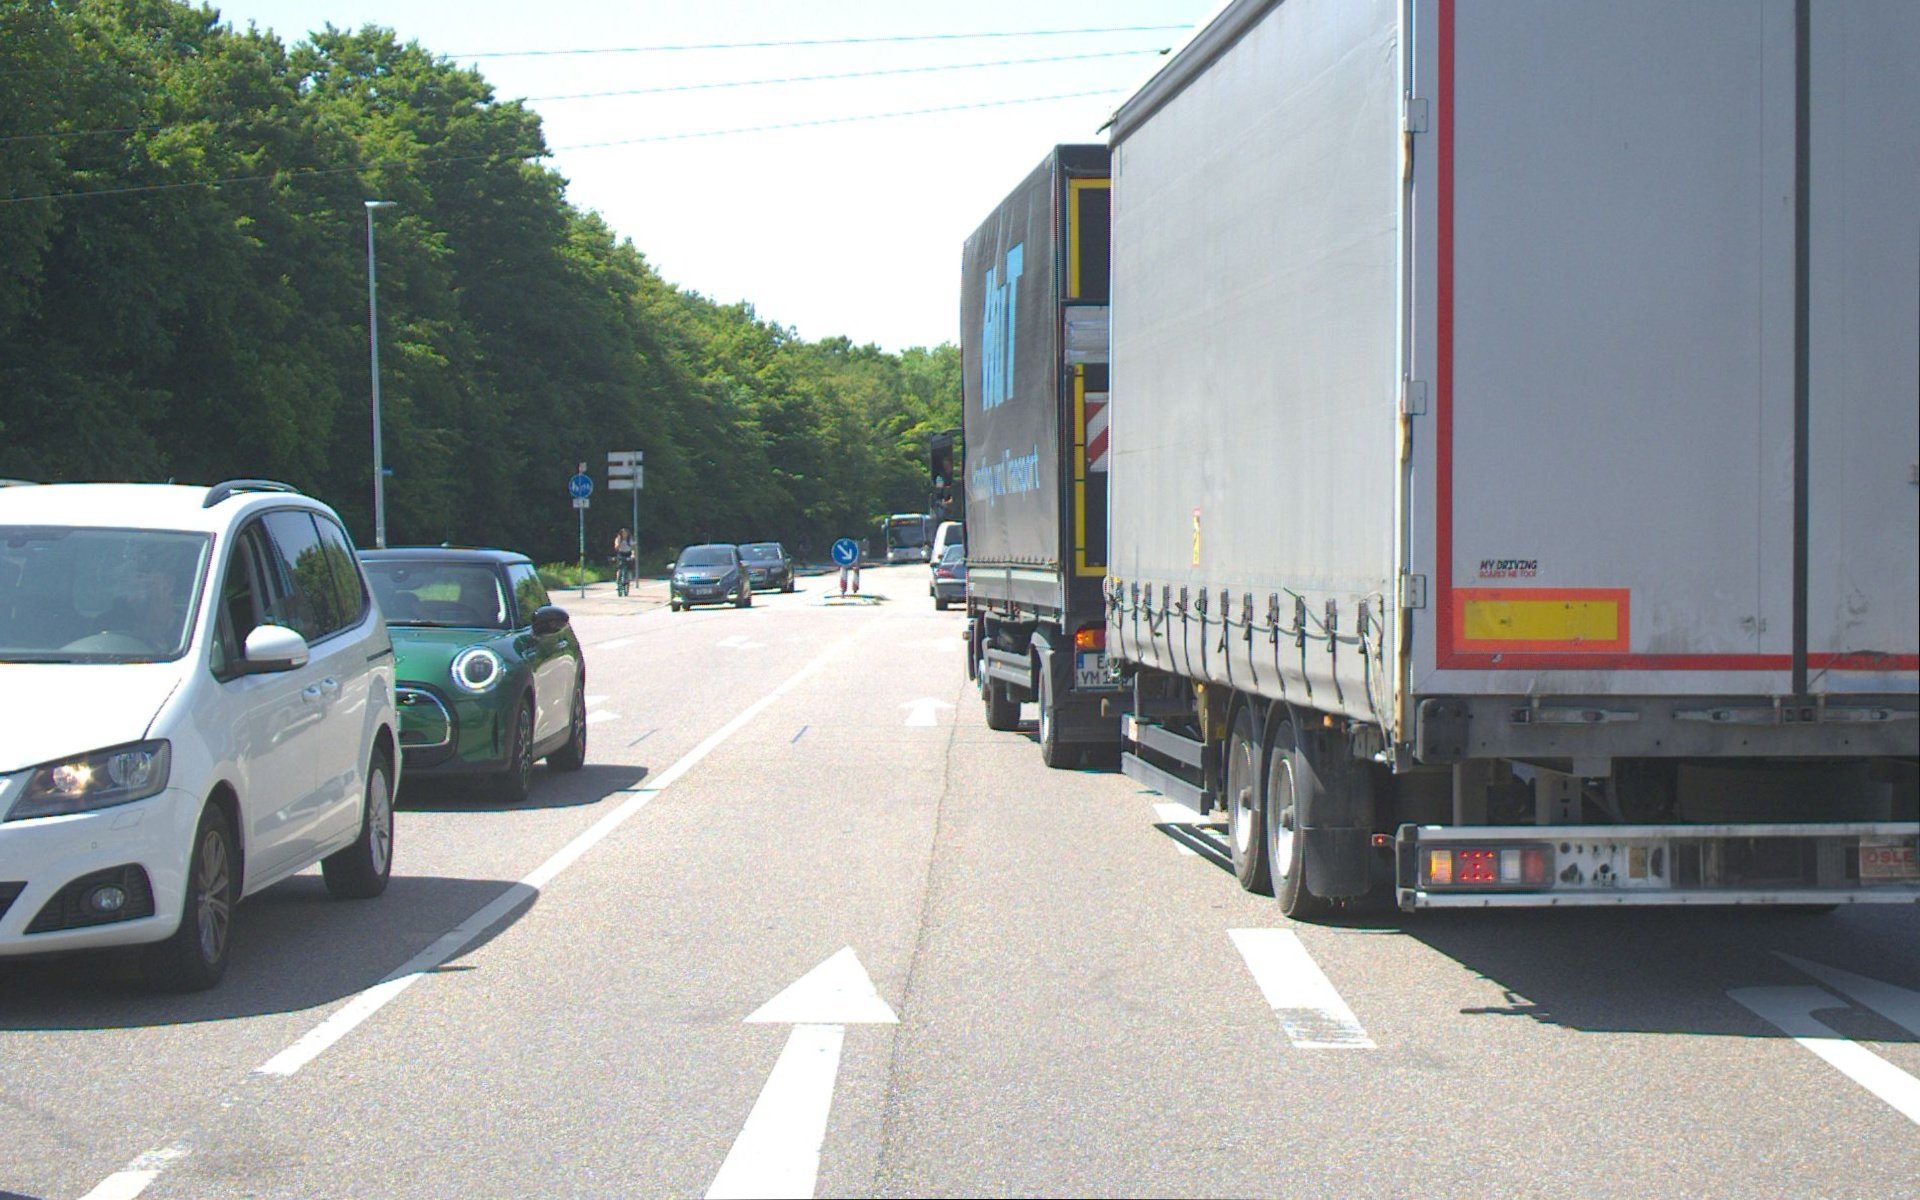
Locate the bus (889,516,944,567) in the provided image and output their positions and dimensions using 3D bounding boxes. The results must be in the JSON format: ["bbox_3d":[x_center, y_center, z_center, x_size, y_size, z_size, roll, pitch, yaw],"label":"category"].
[{"bbox_3d":[-2.746,-3.807,220.550,2.750,3.035,11.938,-2,1,3],"label":"bus"}]

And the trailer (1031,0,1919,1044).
[{"bbox_3d":[2.321,-0.804,15.308,3.077,4.056,9.811,0,1,-4],"label":"trailer"}]

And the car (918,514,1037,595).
[{"bbox_3d":[0.402,-0.979,72.260,2.026,1.626,3.999,-1,1,7],"label":"car"}]

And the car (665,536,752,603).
[{"bbox_3d":[-5.691,-0.710,78.179,1.622,1.451,3.501,-2,1,1],"label":"car"}]

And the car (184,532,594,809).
[{"bbox_3d":[-3.270,0.338,20.413,1.723,1.457,3.990,0,1,1],"label":"car"}]

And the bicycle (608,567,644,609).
[{"bbox_3d":[-8.827,-0.336,90.952,0.669,1.051,2.045,0,2,2],"label":"bicycle"}]

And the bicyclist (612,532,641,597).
[{"bbox_3d":[-8.818,-0.941,90.889,0.665,1.700,0.769,0,2,2],"label":"bicyclist"}]

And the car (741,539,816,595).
[{"bbox_3d":[-5.176,-0.967,98.464,1.744,1.400,4.441,-2,2,1],"label":"car"}]

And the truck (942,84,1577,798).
[{"bbox_3d":[1.699,-0.990,23.621,3.077,4.056,7.960,0,1,-4],"label":"truck"}]

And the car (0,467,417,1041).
[{"bbox_3d":[-3.324,0.403,12.699,1.812,1.717,4.831,0,1,1],"label":"car"}]
